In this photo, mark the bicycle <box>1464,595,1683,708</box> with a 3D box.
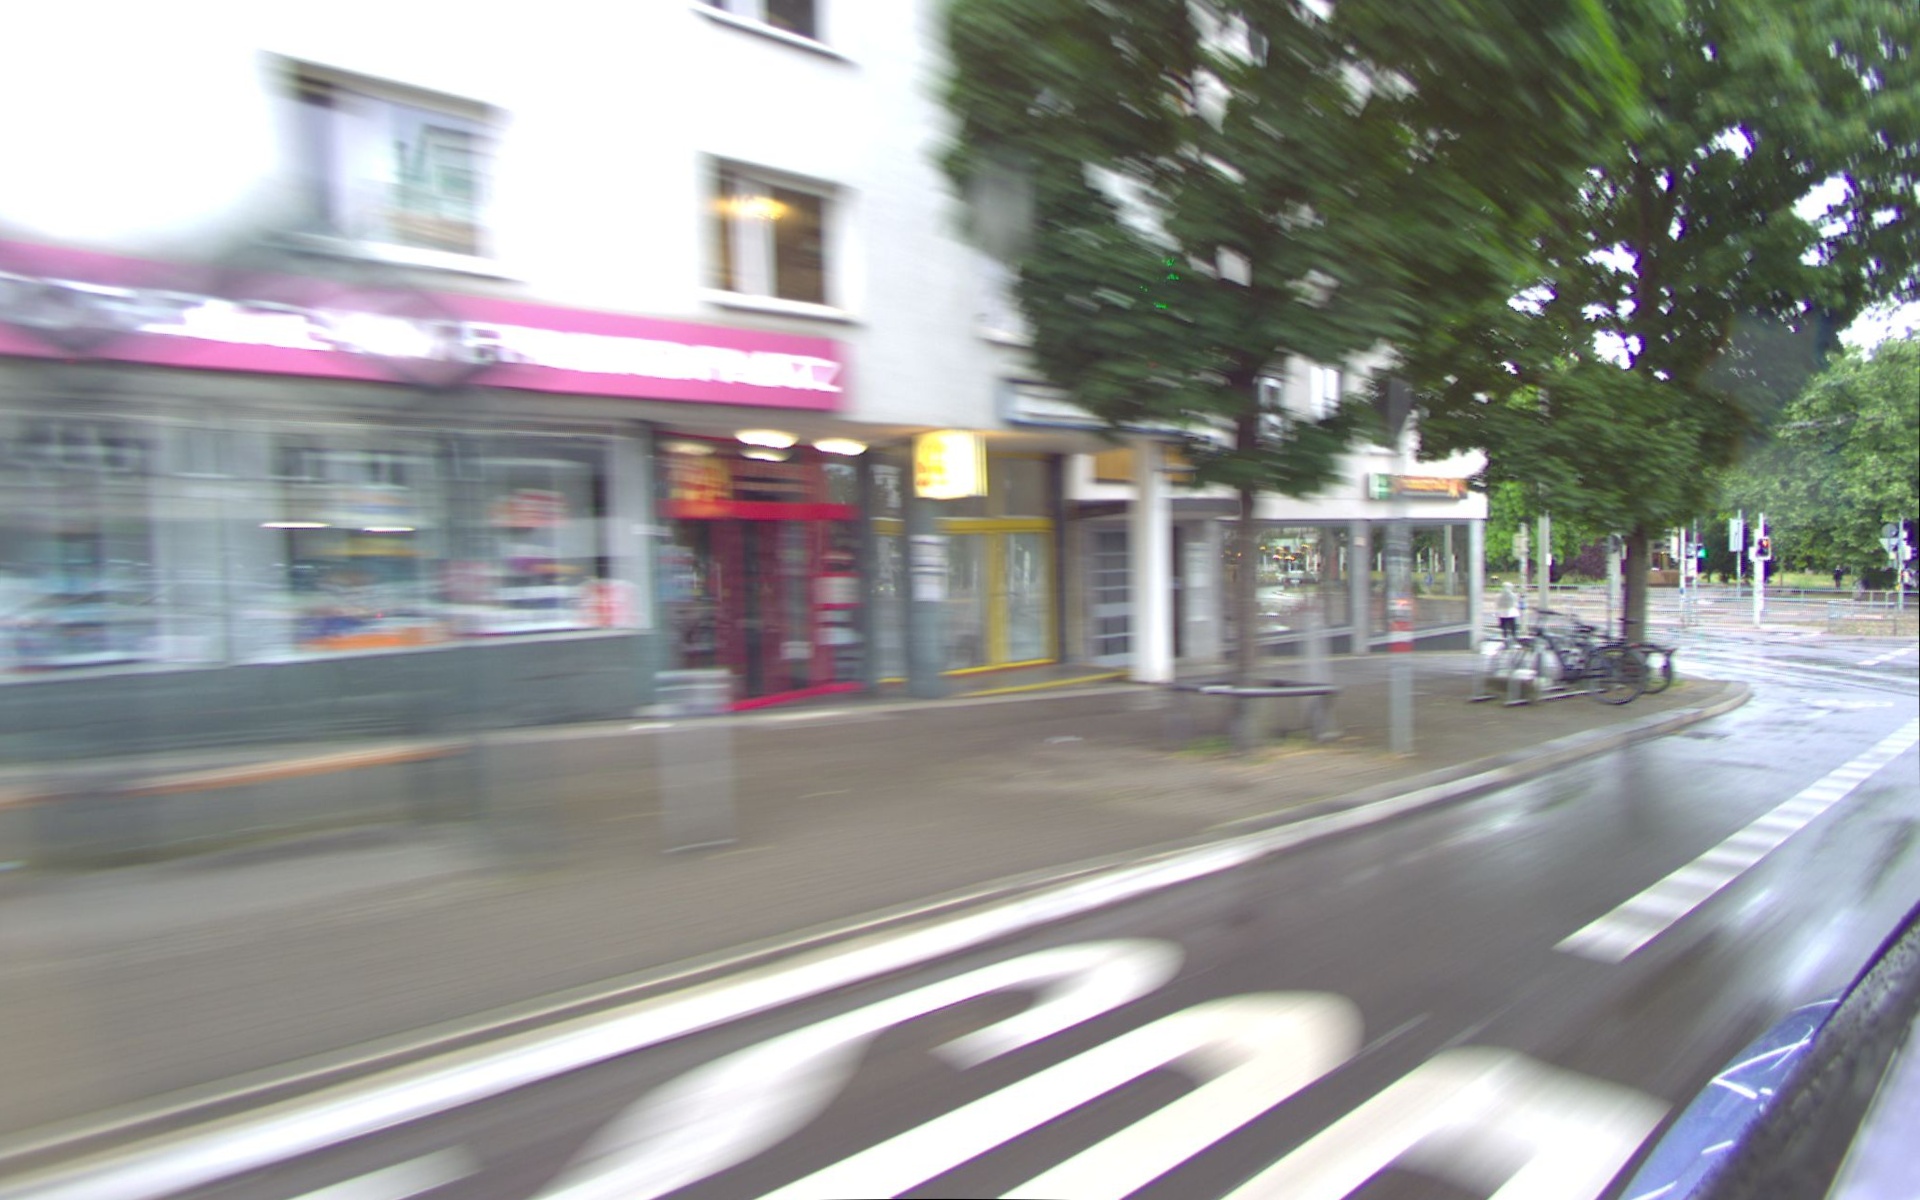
[{"bbox_3d":[7.828,0.607,13.052,0.637,1.188,2.323,-2,4,-36],"label":"bicycle"}]

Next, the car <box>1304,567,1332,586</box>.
[{"bbox_3d":[28.309,-1.851,80.038,1.686,1.466,3.508,0,2,27],"label":"car"}]

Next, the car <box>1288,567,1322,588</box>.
[{"bbox_3d":[25.560,-1.666,74.952,1.689,1.466,3.503,0,2,31],"label":"car"}]

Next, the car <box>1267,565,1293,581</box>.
[{"bbox_3d":[32.083,-2.719,101.457,1.689,1.466,3.503,0,2,31],"label":"car"}]

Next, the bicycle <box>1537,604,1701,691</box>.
[{"bbox_3d":[9.291,0.636,14.336,0.637,1.105,1.822,1,1,-36],"label":"bicycle"}]

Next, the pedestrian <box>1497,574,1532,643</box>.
[{"bbox_3d":[14.260,0.202,26.049,0.519,1.733,0.705,-1,1,2],"label":"pedestrian"}]
